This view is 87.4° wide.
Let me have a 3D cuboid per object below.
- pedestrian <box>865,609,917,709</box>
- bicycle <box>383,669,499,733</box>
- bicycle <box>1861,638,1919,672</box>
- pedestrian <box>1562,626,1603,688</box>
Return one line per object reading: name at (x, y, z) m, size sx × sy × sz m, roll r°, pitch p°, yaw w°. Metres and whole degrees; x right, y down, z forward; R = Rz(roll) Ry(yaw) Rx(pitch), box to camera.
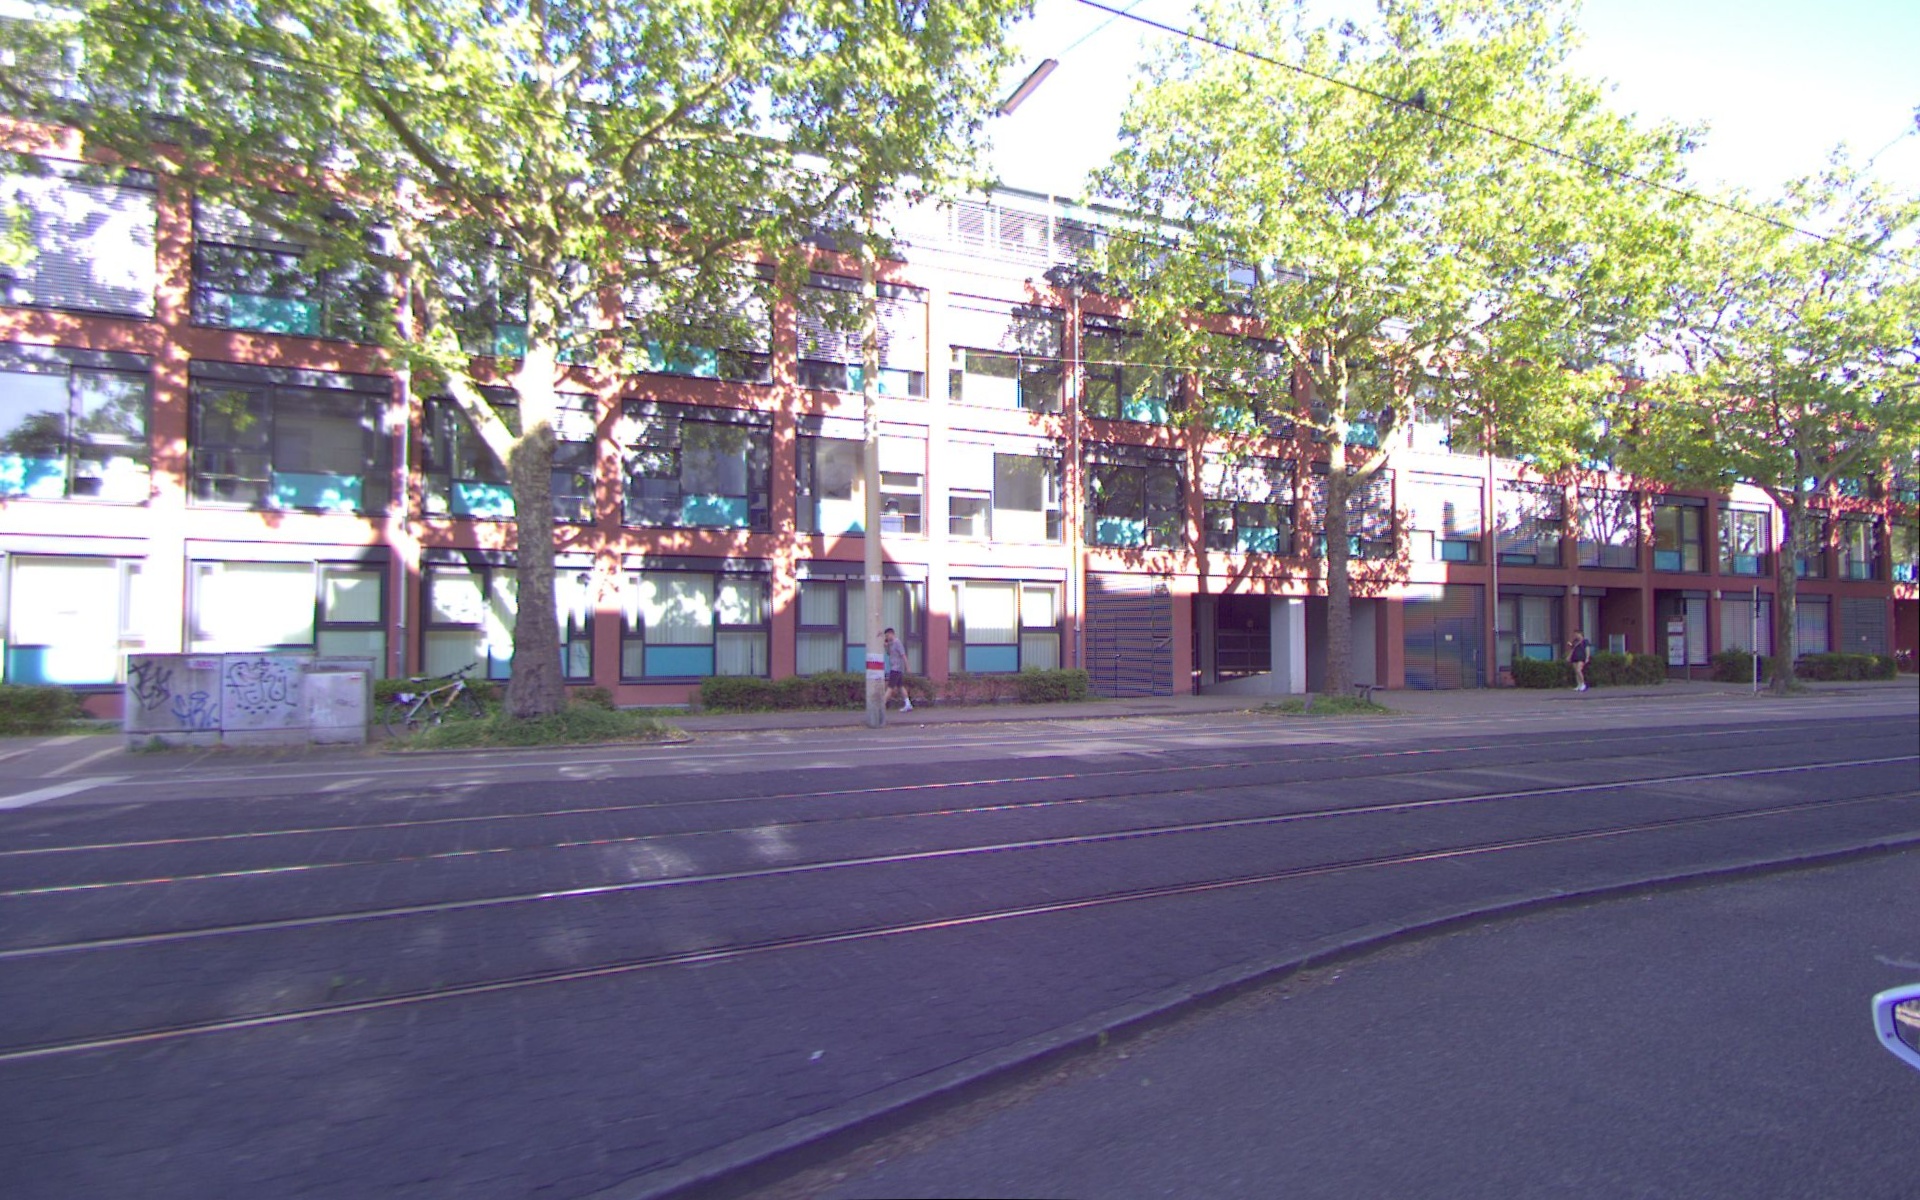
pedestrian at (-1.453, 1.213, 21.073) m, size 0.772 × 2.040 × 0.905 m, roll 0°, pitch 0°, yaw -31°
bicycle at (-8.221, 1.581, 15.950) m, size 0.515 × 0.918 × 1.535 m, roll -1°, pitch -3°, yaw 43°
bicycle at (39.025, 2.264, 41.921) m, size 0.609 × 1.289 × 2.060 m, roll -1°, pitch 1°, yaw -19°
pedestrian at (17.935, 1.623, 28.941) m, size 0.888 × 1.741 × 0.623 m, roll 0°, pitch 0°, yaw -24°
